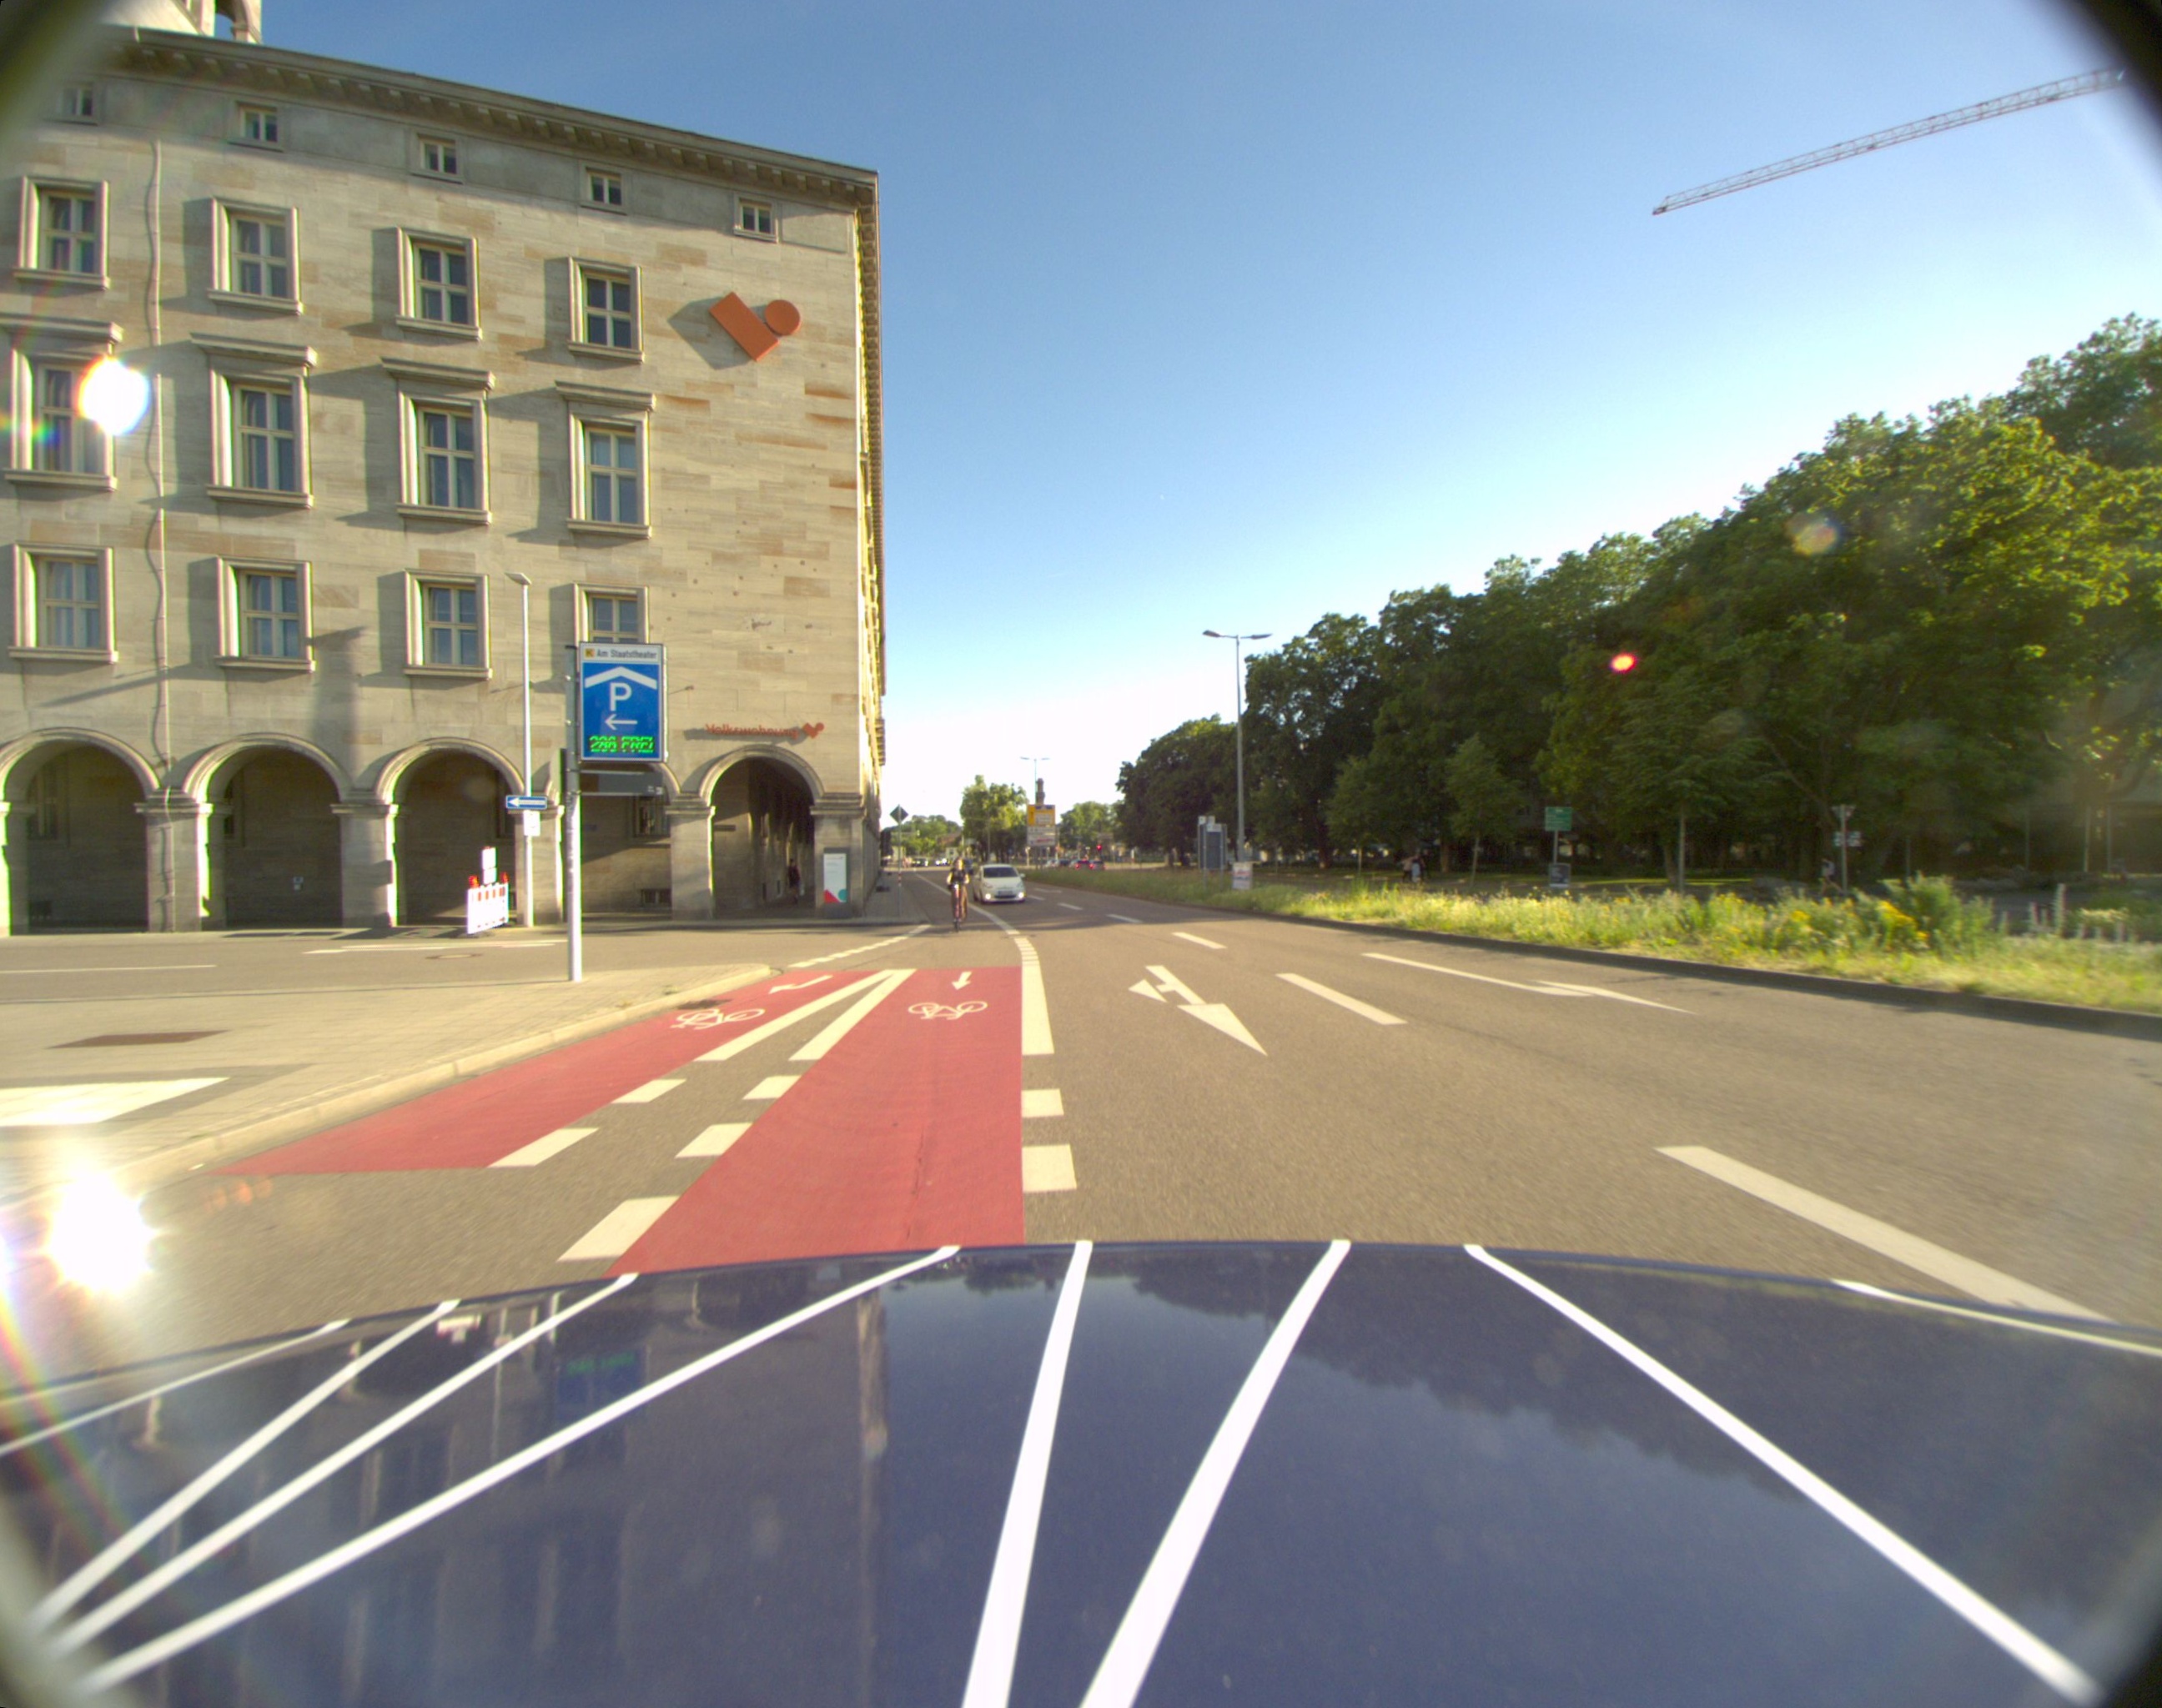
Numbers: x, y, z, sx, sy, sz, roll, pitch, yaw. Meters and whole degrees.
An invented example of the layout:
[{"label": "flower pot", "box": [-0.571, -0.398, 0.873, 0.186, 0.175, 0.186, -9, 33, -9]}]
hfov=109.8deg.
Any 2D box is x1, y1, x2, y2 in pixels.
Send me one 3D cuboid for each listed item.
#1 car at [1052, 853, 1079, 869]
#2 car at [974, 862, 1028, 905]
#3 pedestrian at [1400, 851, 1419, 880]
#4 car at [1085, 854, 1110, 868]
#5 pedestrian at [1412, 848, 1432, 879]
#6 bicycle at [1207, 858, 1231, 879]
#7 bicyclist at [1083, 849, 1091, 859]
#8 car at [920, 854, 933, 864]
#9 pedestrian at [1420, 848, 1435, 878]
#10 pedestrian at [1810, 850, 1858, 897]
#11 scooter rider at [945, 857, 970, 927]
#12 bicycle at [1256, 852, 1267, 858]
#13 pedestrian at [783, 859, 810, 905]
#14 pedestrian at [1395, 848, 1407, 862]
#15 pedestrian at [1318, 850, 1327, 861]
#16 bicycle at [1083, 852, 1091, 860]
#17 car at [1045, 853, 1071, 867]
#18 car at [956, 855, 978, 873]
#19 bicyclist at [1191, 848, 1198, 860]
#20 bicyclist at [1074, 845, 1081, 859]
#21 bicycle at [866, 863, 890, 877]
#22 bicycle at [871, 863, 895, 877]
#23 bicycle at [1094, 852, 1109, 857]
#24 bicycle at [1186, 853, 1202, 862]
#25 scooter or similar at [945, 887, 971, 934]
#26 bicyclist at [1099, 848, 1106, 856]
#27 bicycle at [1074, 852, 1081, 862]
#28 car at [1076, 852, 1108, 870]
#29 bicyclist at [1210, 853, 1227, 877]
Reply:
[{"label": "car", "box": [-1.666, 0.706, 81.123, 2.001, 1.666, 4.543, -1, 1, -13]}, {"label": "car", "box": [-3.198, 1.092, 29.702, 1.680, 1.455, 3.761, -2, 1, -12]}, {"label": "pedestrian", "box": [18.690, 0.635, 43.214, 0.745, 1.631, 0.725, -1, 1, -10]}, {"label": "car", "box": [1.881, 0.807, 88.169, 1.940, 1.517, 4.582, -1, 0, -13]}, {"label": "pedestrian", "box": [19.464, 0.528, 43.372, 0.774, 1.730, 0.760, -1, 1, -10]}, {"label": "bicycle", "box": [9.187, 0.948, 50.832, 0.760, 1.268, 2.255, 0, 2, -12]}, {"label": "bicyclist", "box": [0.918, -0.024, 116.277, 0.850, 1.610, 0.974, 0, 1, 16]}, {"label": "car", "box": [-27.096, 0.887, 133.280, 2.001, 1.564, 4.543, -1, 1, -13]}, {"label": "pedestrian", "box": [19.937, 0.508, 43.755, 0.526, 1.730, 0.654, -1, 1, -10]}, {"label": "pedestrian", "box": [24.771, 0.635, 25.022, 0.614, 1.518, 0.941, -1, 0, -8]}, {"label": "scooter rider", "box": [-2.953, 0.899, 18.155, 0.563, 1.622, 0.649, -1, 1, -11]}, {"label": "bicycle", "box": [26.305, 0.173, 110.448, 0.771, 0.884, 1.603, -1, 1, -22]}, {"label": "pedestrian", "box": [-9.899, 0.951, 26.437, 0.779, 1.560, 0.951, -1, 0, -16]}, {"label": "pedestrian", "box": [32.196, 0.105, 76.459, 0.909, 1.332, 0.664, -1, 1, -11]}, {"label": "pedestrian", "box": [28.892, 0.143, 90.896, 0.734, 1.332, 0.599, -1, 1, -11]}, {"label": "bicycle", "box": [0.935, 0.262, 116.321, 0.845, 1.223, 2.016, 0, 1, 15]}, {"label": "car", "box": [-2.654, 0.653, 86.653, 2.001, 1.551, 4.543, -1, 0, -13]}, {"label": "car", "box": [-10.892, 0.936, 72.409, 1.735, 1.629, 3.995, -2, 1, -13]}, {"label": "bicyclist", "box": [16.357, 0.020, 109.516, 0.839, 1.734, 0.753, 0, 3, -14]}, {"label": "bicyclist", "box": [-0.417, -0.206, 90.317, 0.783, 1.669, 0.838, 0, 1, 1]}, {"label": "bicycle", "box": [-14.956, 1.169, 56.010, 0.610, 1.044, 1.717, 1, 0, 30]}, {"label": "bicycle", "box": [-15.091, 1.207, 57.982, 1.716, 1.044, 0.526, 1, 0, -28]}, {"label": "bicycle", "box": [3.364, 0.057, 122.343, 2.335, 0.846, 0.842, -1, 1, -7]}, {"label": "bicycle", "box": [16.297, 0.523, 109.509, 2.022, 1.233, 0.777, -1, 3, -14]}, {"label": "scooter or similar", "box": [-2.962, 1.348, 18.240, 0.557, 1.025, 1.116, -1, 1, -12]}, {"label": "bicyclist", "box": [3.522, -0.305, 122.362, 0.973, 1.354, 0.826, -1, 1, -9]}, {"label": "bicycle", "box": [-0.424, 0.339, 90.253, 0.777, 1.232, 2.249, 0, 0, 1]}, {"label": "car", "box": [0.997, 0.605, 70.850, 2.001, 1.555, 4.055, -1, 1, -13]}, {"label": "bicyclist", "box": [9.189, 0.733, 50.801, 0.749, 1.581, 1.200, 0, 2, -12]}]
